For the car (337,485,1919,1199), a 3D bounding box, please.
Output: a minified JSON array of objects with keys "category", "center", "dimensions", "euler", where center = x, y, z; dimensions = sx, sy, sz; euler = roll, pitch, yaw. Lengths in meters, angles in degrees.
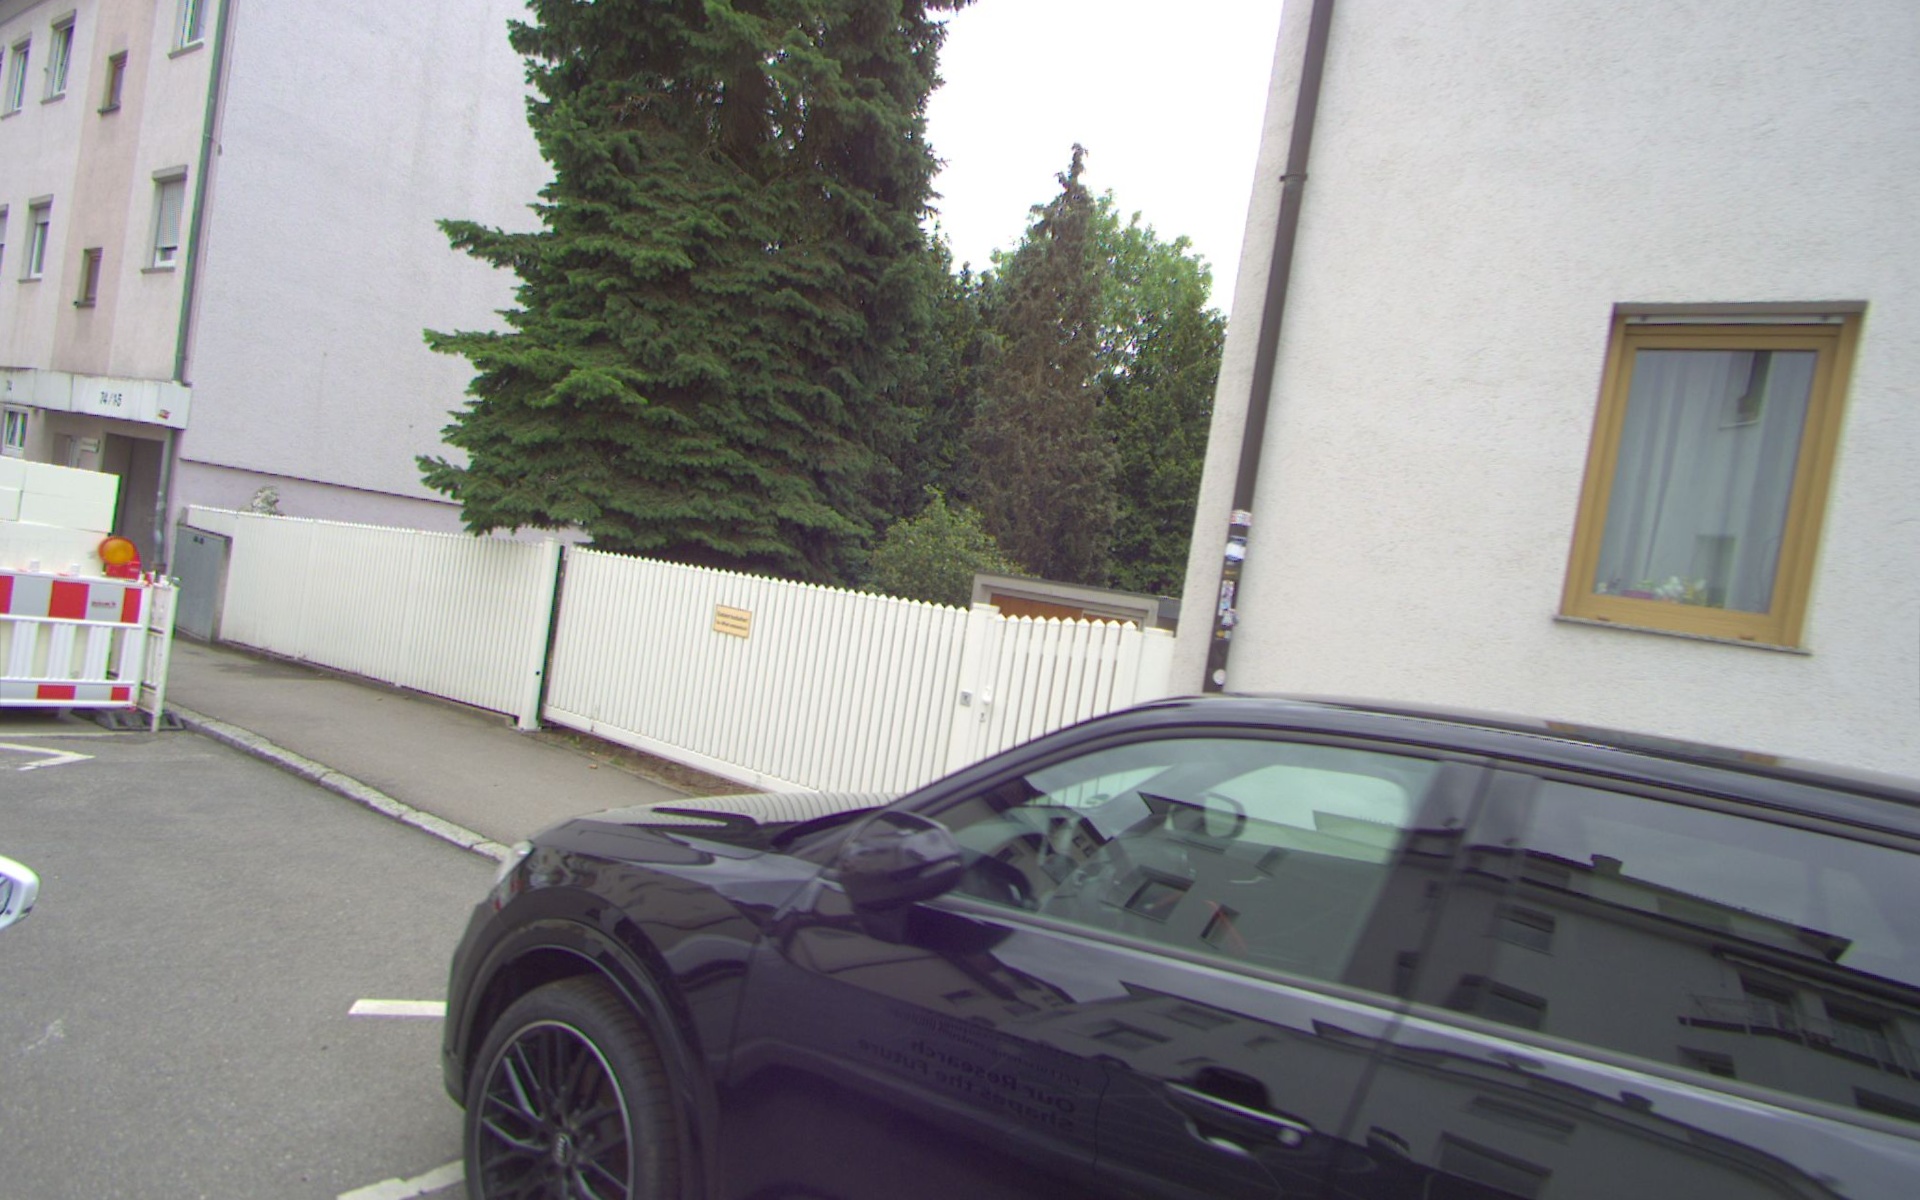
[{"category":"car","center":[0.727,0.822,2.075],"dimensions":[4.006,1.583,1.718],"euler":[8,-2,33]}]
